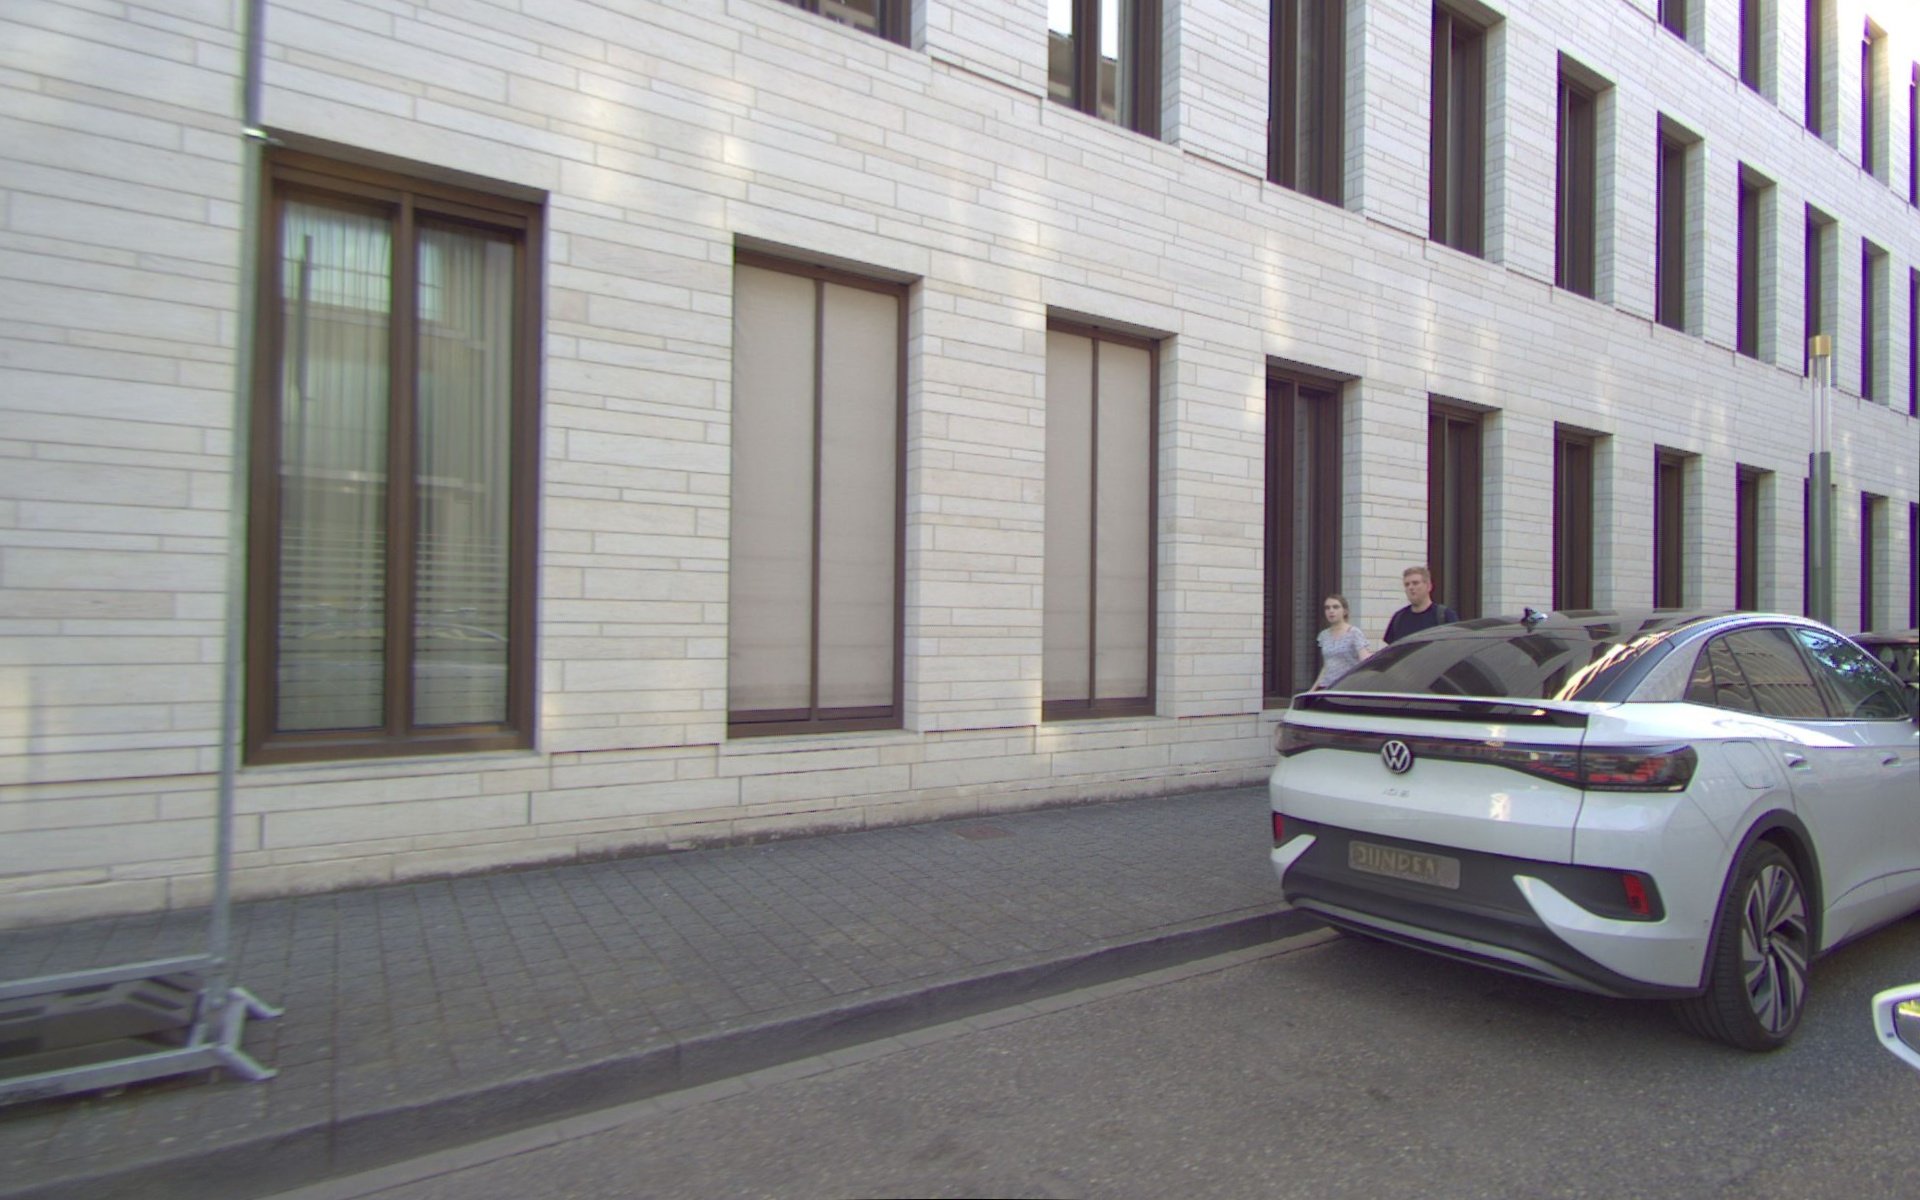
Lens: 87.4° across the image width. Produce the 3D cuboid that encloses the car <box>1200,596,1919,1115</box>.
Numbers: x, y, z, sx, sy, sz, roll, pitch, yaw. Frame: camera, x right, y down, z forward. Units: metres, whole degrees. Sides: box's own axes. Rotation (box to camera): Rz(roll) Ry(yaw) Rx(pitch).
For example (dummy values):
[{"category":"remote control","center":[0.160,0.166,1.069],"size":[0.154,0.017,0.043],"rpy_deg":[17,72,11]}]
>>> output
[{"category":"car","center":[3.452,0.848,5.006],"size":[4.397,1.561,1.813],"rpy_deg":[1,-4,-32]}]

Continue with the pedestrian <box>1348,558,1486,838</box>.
[{"category":"pedestrian","center":[3.142,0.644,6.925],"size":[0.569,1.813,0.638],"rpy_deg":[2,-1,-32]}]

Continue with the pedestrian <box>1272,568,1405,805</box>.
[{"category":"pedestrian","center":[3.088,0.679,8.210],"size":[0.808,1.813,0.640],"rpy_deg":[2,-1,-32]}]

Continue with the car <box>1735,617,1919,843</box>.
[{"category":"car","center":[8.326,0.935,8.233],"size":[4.218,1.561,1.812],"rpy_deg":[1,-4,-33]}]
